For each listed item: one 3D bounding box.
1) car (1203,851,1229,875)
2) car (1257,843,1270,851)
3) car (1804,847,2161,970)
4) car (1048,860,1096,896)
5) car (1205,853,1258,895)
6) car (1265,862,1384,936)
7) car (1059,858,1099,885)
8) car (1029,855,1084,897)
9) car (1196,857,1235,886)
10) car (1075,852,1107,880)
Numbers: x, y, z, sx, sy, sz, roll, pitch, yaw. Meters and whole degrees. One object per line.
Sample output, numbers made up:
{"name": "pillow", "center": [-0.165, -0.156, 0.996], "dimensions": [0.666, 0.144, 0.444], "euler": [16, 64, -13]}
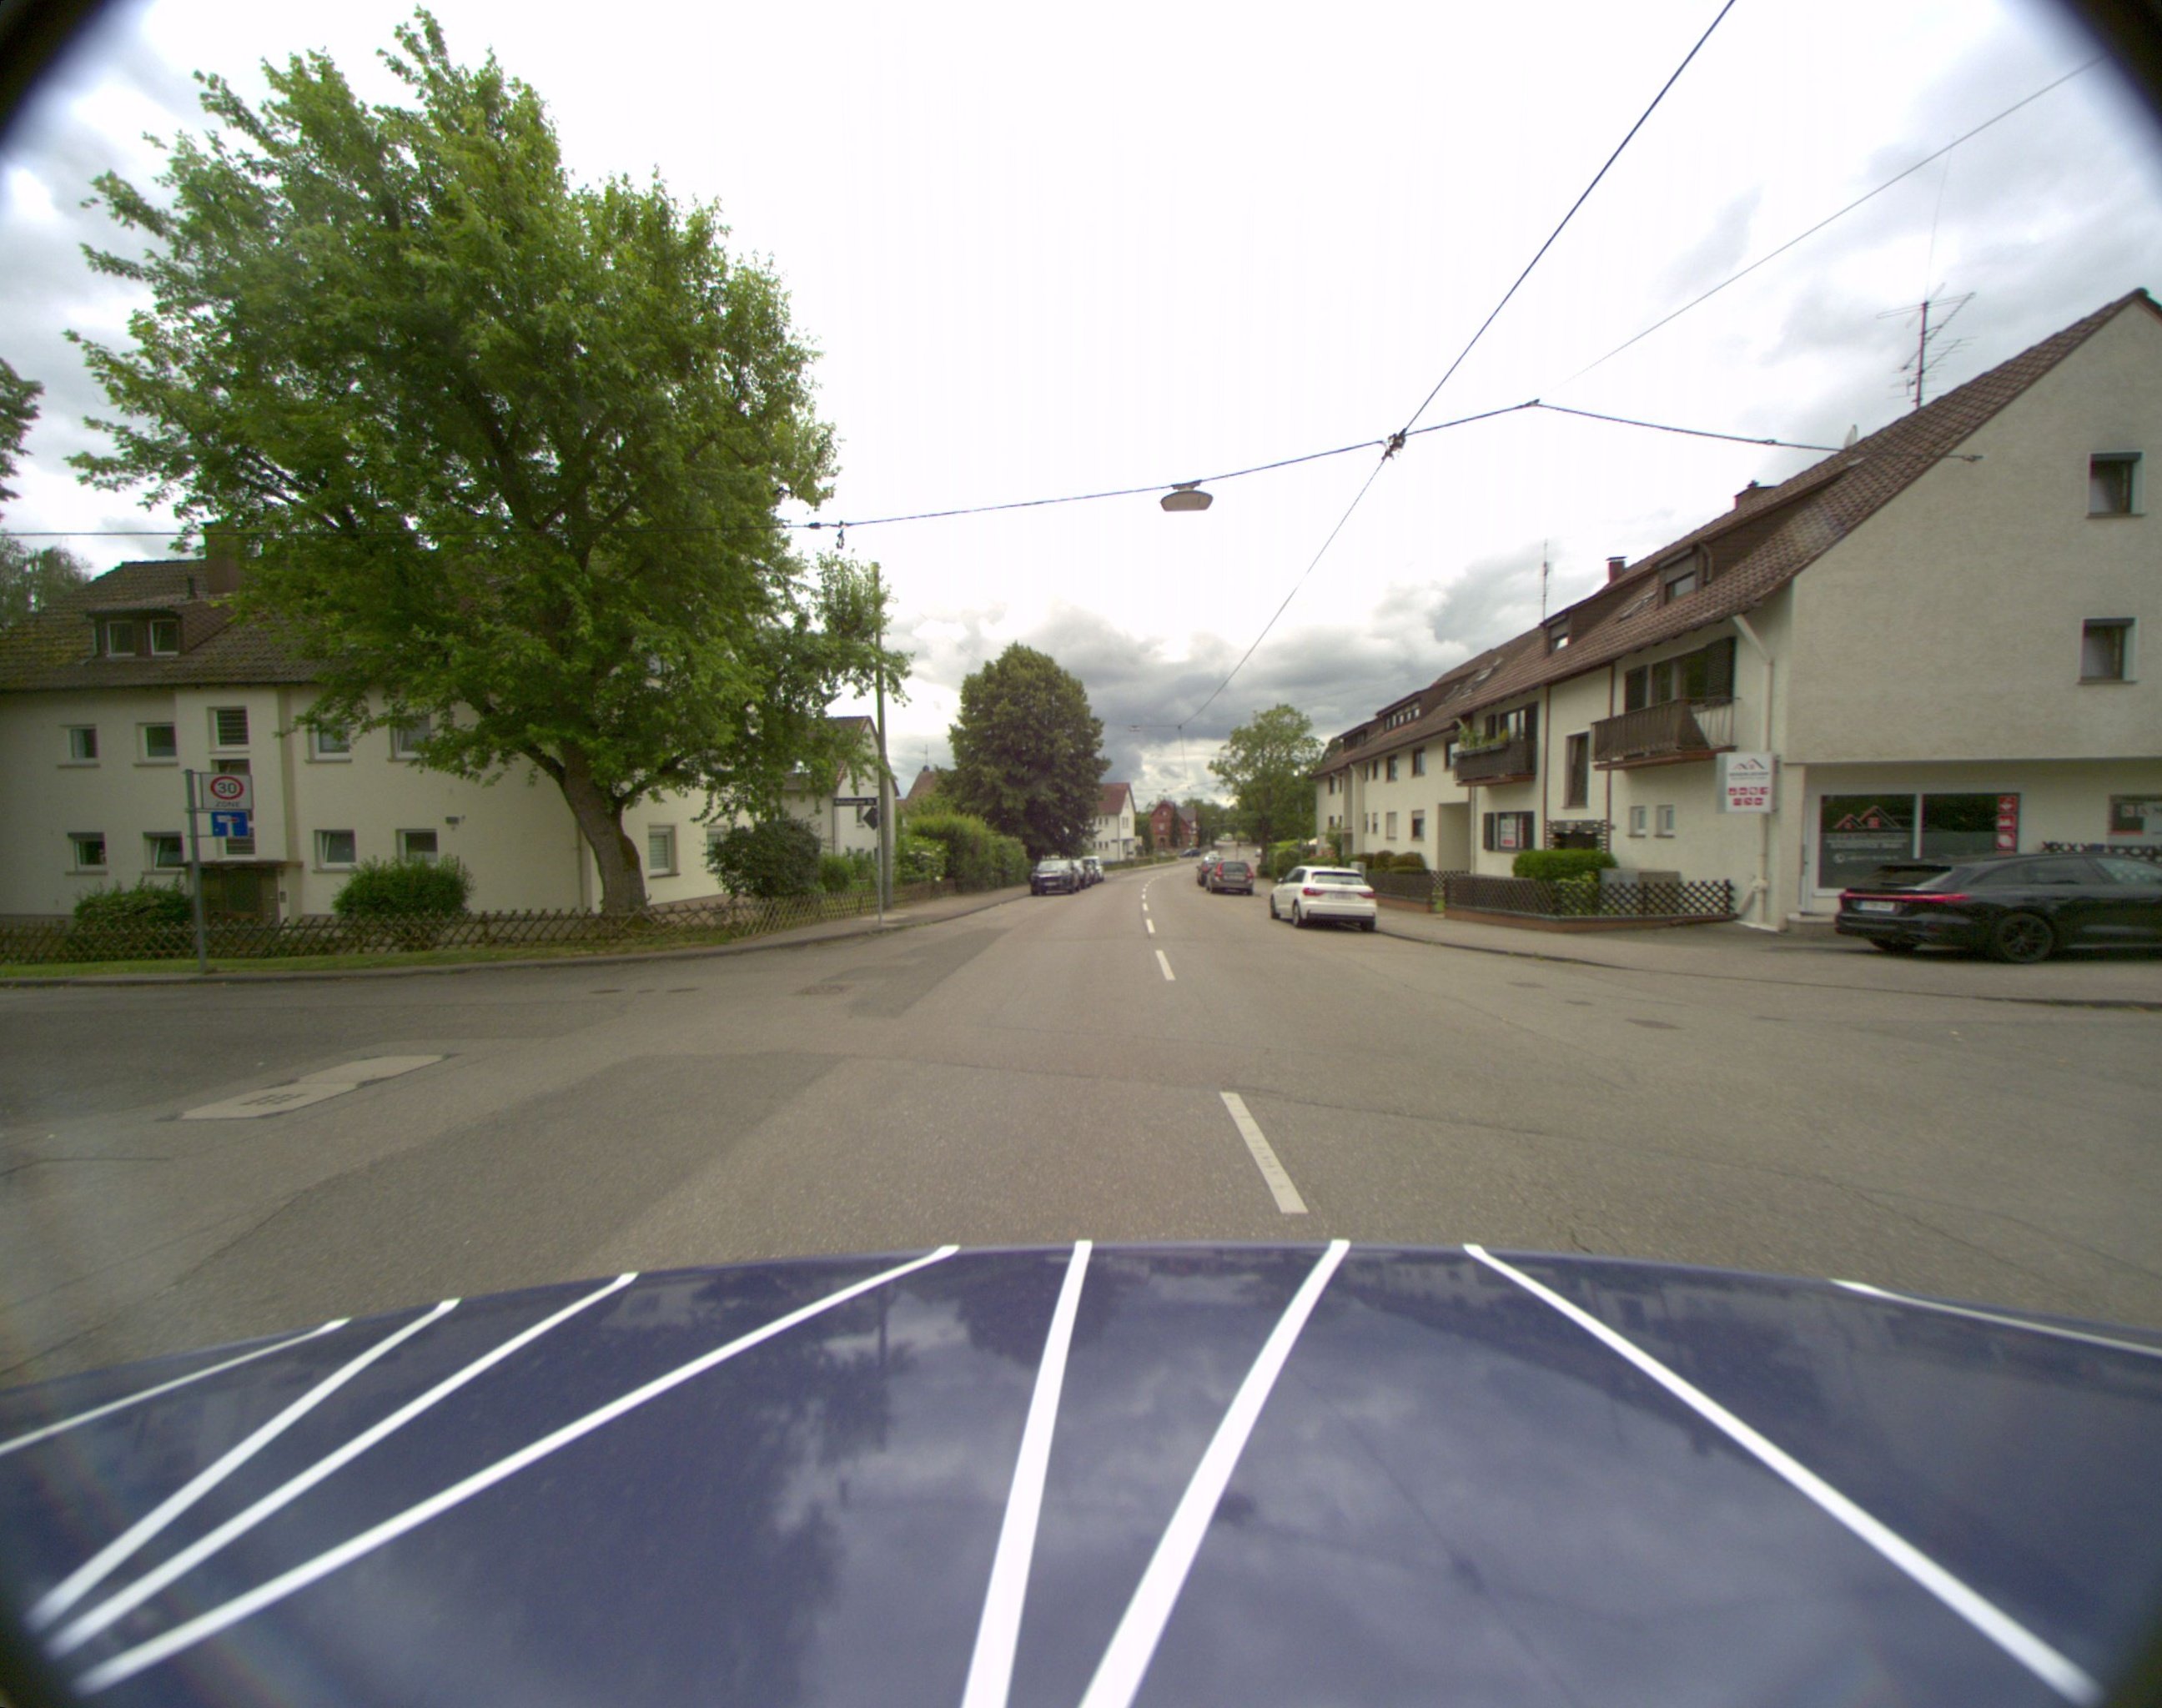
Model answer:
{"name": "car", "center": [10.539, 0.642, 59.022], "dimensions": [1.852, 1.704, 4.578], "euler": [1, 1, 11]}
{"name": "car", "center": [31.705, -1.205, 131.957], "dimensions": [1.714, 1.346, 4.088], "euler": [2, 2, 20]}
{"name": "car", "center": [13.379, 0.699, 10.564], "dimensions": [4.527, 1.463, 2.001], "euler": [-2, 0, 6]}
{"name": "car", "center": [-0.423, 1.207, 39.921], "dimensions": [1.998, 1.606, 4.541], "euler": [-2, 0, 5]}
{"name": "car", "center": [6.778, 0.839, 34.693], "dimensions": [1.850, 1.670, 4.788], "euler": [3, 1, 6]}
{"name": "car", "center": [5.696, 0.987, 18.238], "dimensions": [1.730, 1.450, 3.899], "euler": [3, 1, 3]}
{"name": "car", "center": [-0.046, 1.024, 46.379], "dimensions": [1.998, 1.469, 4.621], "euler": [-1, 0, 5]}
{"name": "car", "center": [-1.007, 0.923, 33.877], "dimensions": [1.814, 1.606, 4.541], "euler": [-2, 0, 5]}
{"name": "car", "center": [7.367, 0.920, 41.959], "dimensions": [1.766, 1.430, 4.080], "euler": [3, 0, 6]}
{"name": "car", "center": [0.713, 0.815, 51.824], "dimensions": [1.842, 1.763, 4.319], "euler": [-3, -1, 4]}
